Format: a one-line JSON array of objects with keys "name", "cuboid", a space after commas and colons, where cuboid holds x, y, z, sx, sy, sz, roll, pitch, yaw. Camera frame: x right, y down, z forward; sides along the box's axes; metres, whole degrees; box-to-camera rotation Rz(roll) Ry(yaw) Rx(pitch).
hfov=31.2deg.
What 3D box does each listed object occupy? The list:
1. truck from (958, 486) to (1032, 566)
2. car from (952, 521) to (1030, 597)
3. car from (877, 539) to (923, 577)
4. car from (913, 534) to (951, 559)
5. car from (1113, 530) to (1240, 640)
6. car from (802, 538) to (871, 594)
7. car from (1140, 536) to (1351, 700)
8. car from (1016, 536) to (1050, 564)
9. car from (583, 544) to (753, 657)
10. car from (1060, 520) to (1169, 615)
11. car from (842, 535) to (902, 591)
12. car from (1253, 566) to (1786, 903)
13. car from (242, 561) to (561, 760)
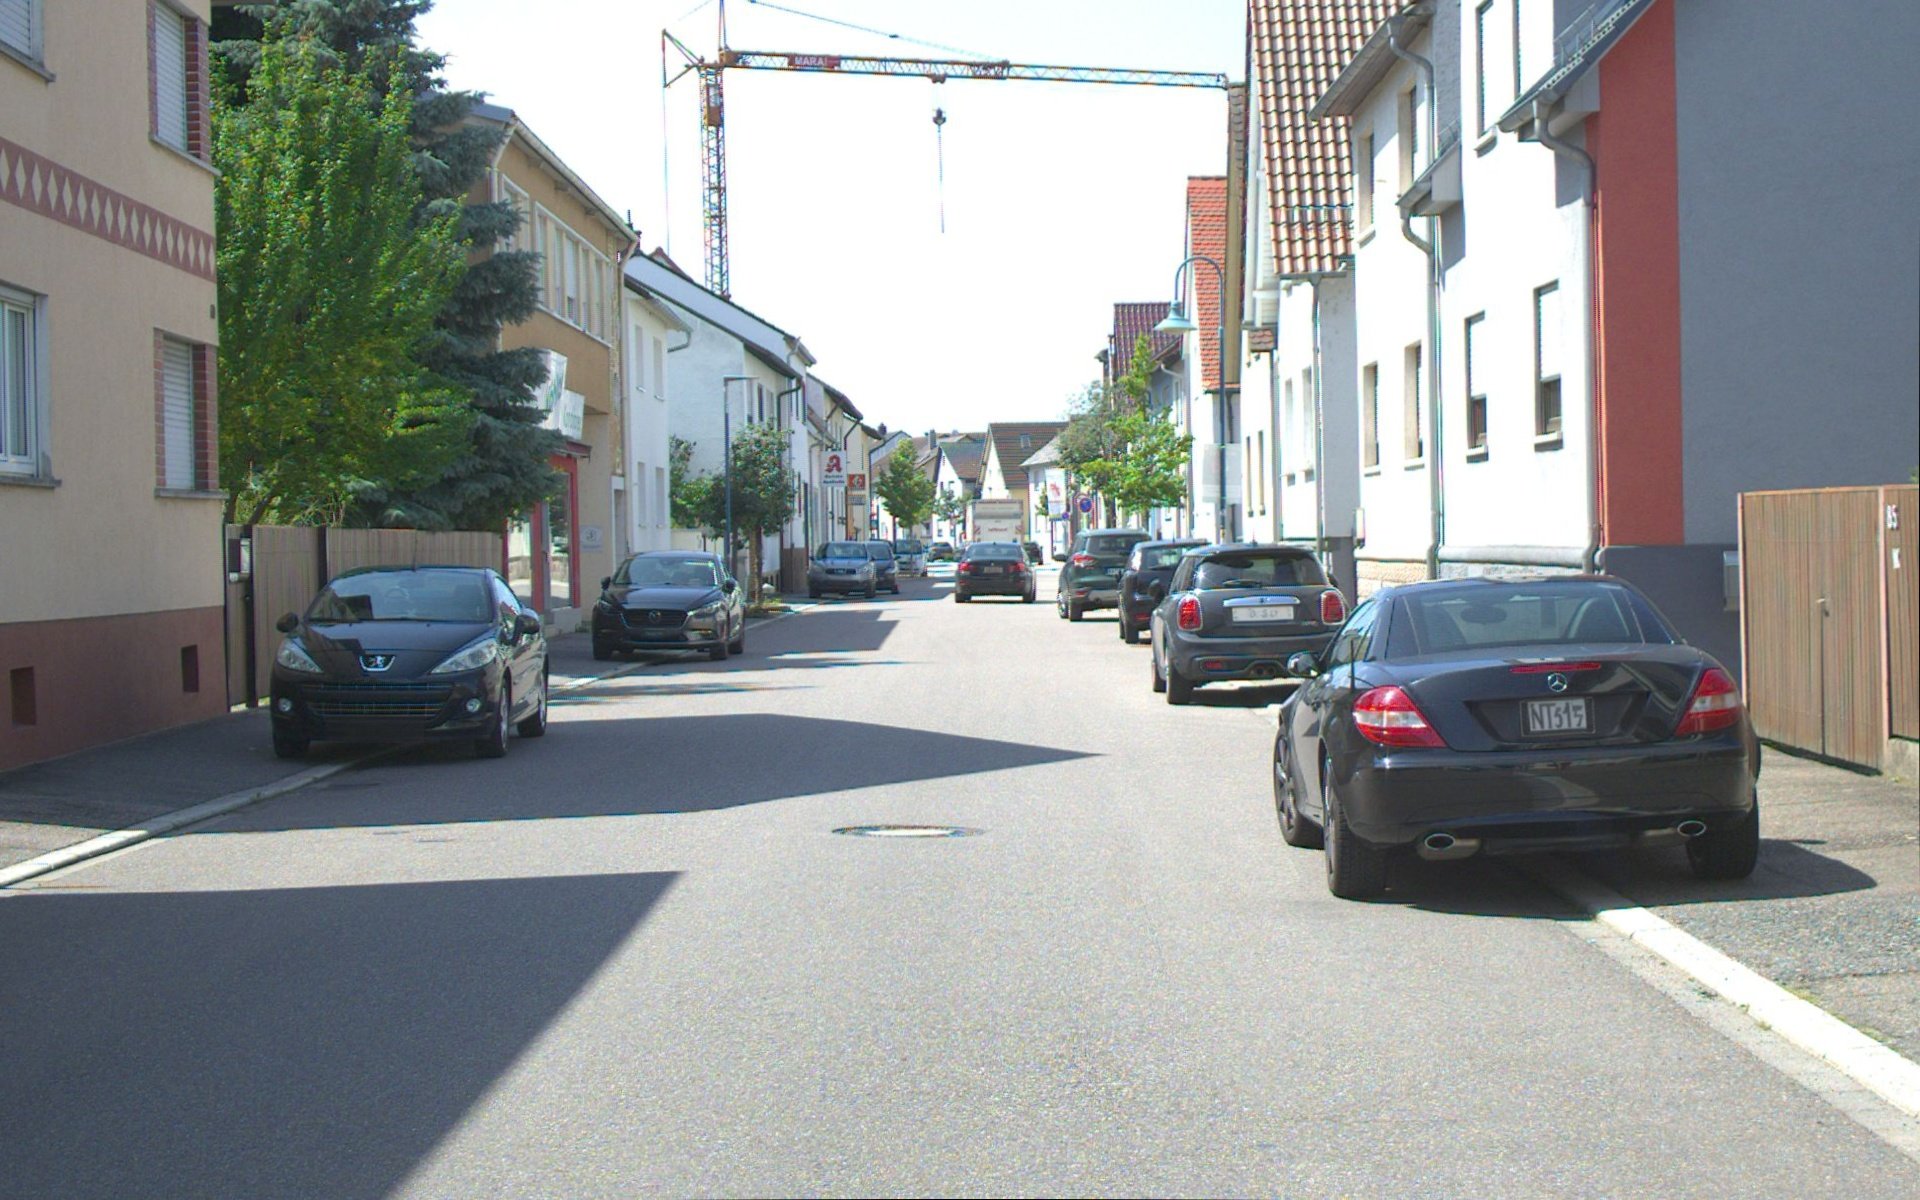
[{"name": "truck", "cuboid": [1.754, -3.754, 177.920, 3.379, 3.852, 13.927, -2, 1, -1]}, {"name": "car", "cuboid": [0.720, -0.986, 83.180, 1.783, 1.747, 4.000, -2, 1, 0]}, {"name": "car", "cuboid": [-2.465, -1.760, 142.649, 1.723, 1.550, 4.172, 1, 1, 1]}, {"name": "car", "cuboid": [-2.112, -4.017, 259.002, 1.820, 1.747, 4.230, -2, 1, -15]}, {"name": "car", "cuboid": [3.221, -0.254, 51.723, 1.617, 1.490, 3.972, -3, 1, 0]}, {"name": "car", "cuboid": [-3.438, -0.971, 96.542, 1.758, 1.519, 4.289, -1, 1, 0]}, {"name": "car", "cuboid": [2.622, 0.125, 32.203, 1.688, 1.417, 3.657, -1, 1, 1]}, {"name": "car", "cuboid": [4.274, -2.936, 202.381, 1.782, 1.558, 4.337, -2, 1, -1]}, {"name": "car", "cuboid": [-3.956, -0.026, 47.237, 1.768, 1.455, 4.436, -1, 1, 2]}, {"name": "car", "cuboid": [2.866, -0.625, 64.523, 1.728, 1.711, 4.276, -1, 1, -1]}, {"name": "car", "cuboid": [-2.619, -1.135, 103.210, 1.653, 1.603, 4.061, -1, 1, 0]}, {"name": "car", "cuboid": [2.375, 0.509, 15.579, 1.816, 1.271, 4.146, -1, 1, 1]}, {"name": "car", "cuboid": [-4.174, 0.402, 26.283, 1.761, 1.369, 4.066, 0, 1, 0]}]
